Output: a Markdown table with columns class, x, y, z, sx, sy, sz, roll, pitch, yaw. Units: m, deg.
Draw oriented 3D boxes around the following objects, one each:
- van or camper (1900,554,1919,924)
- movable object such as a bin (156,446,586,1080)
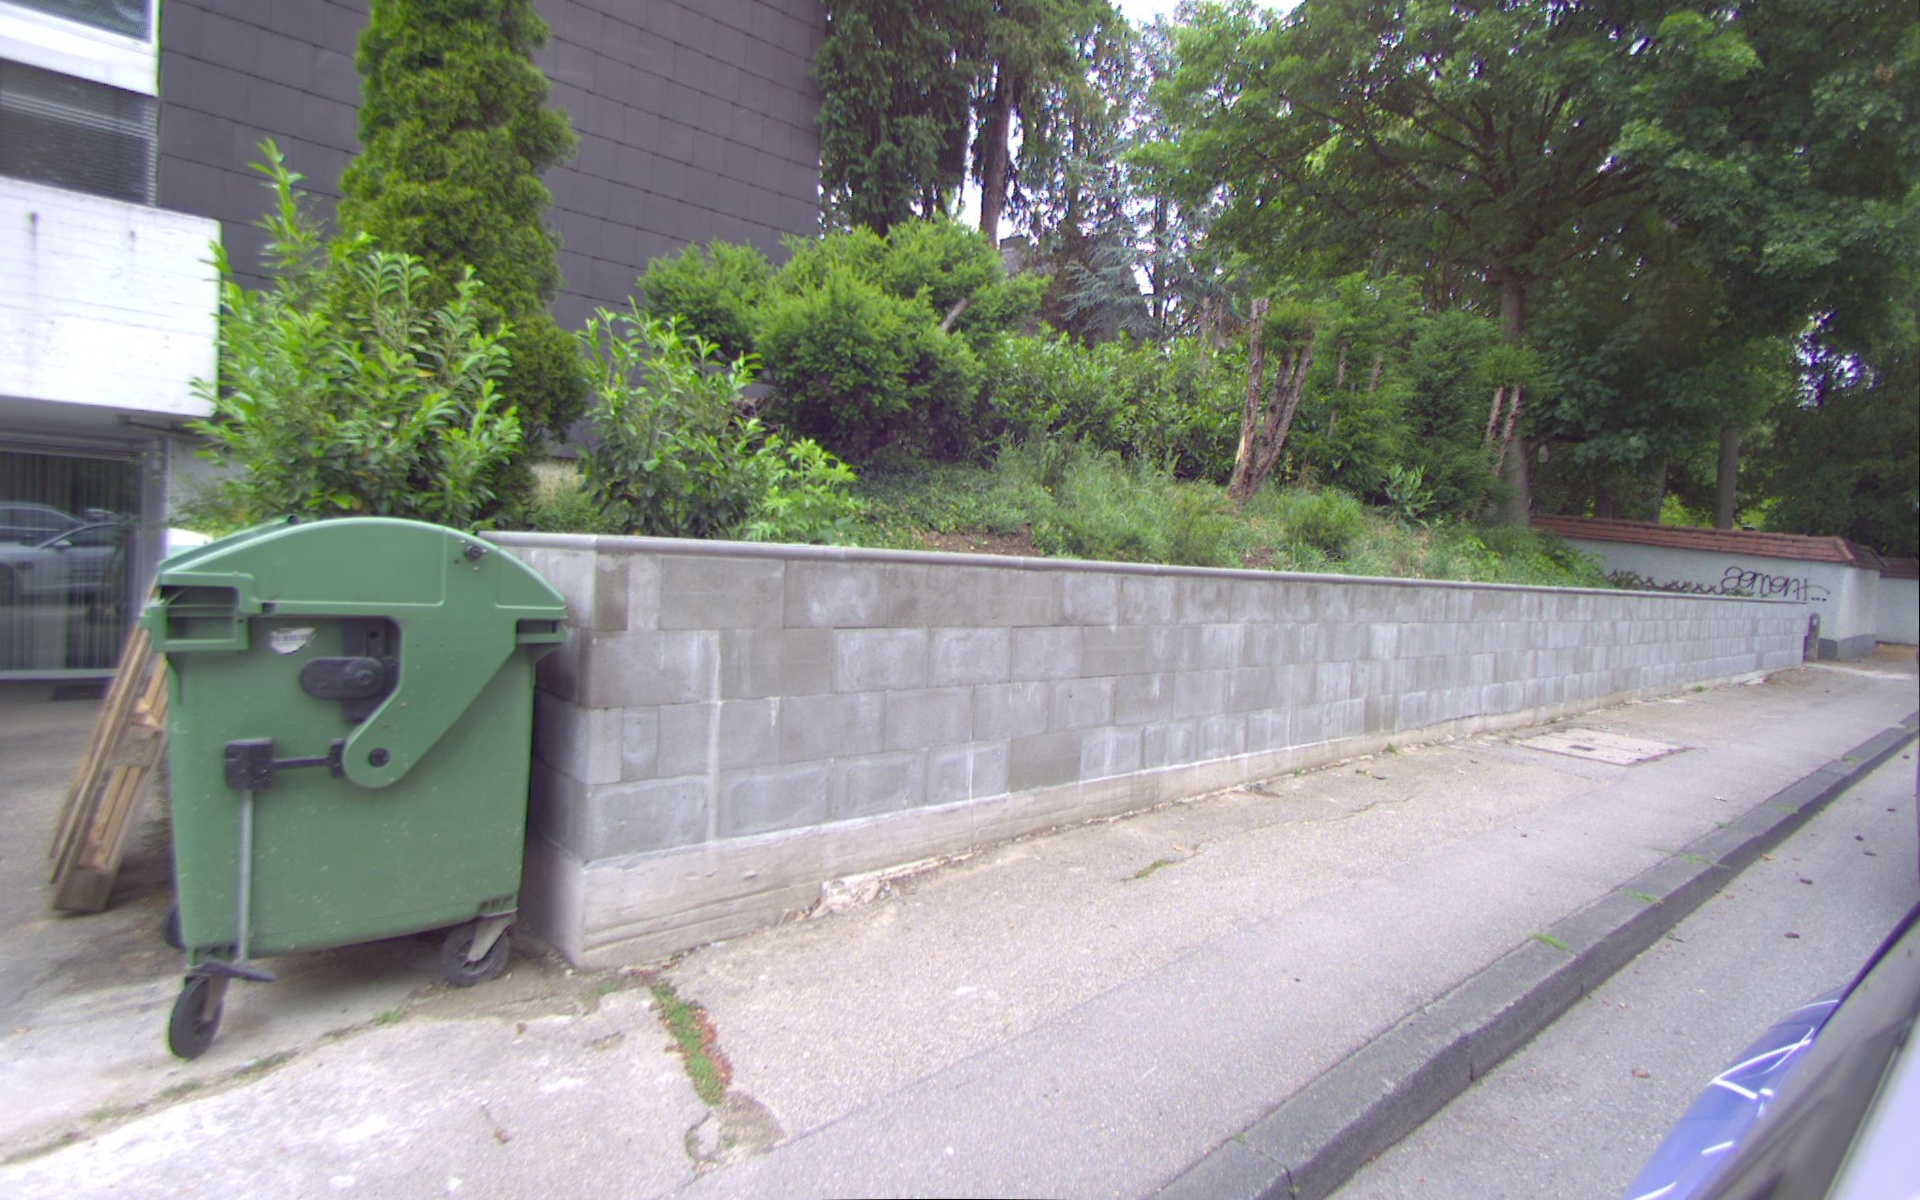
| class | x | y | z | sx | sy | sz | roll | pitch | yaw |
| --- | --- | --- | --- | --- | --- | --- | --- | --- | --- |
| van or camper | 6.120 | 0.537 | 4.907 | 4.125 | 1.693 | 1.800 | 0 | 3 | -41 |
| movable object such as a bin | -1.873 | 0.376 | 3.186 | 1.014 | 1.549 | 1.037 | 0 | 2 | -39 |
